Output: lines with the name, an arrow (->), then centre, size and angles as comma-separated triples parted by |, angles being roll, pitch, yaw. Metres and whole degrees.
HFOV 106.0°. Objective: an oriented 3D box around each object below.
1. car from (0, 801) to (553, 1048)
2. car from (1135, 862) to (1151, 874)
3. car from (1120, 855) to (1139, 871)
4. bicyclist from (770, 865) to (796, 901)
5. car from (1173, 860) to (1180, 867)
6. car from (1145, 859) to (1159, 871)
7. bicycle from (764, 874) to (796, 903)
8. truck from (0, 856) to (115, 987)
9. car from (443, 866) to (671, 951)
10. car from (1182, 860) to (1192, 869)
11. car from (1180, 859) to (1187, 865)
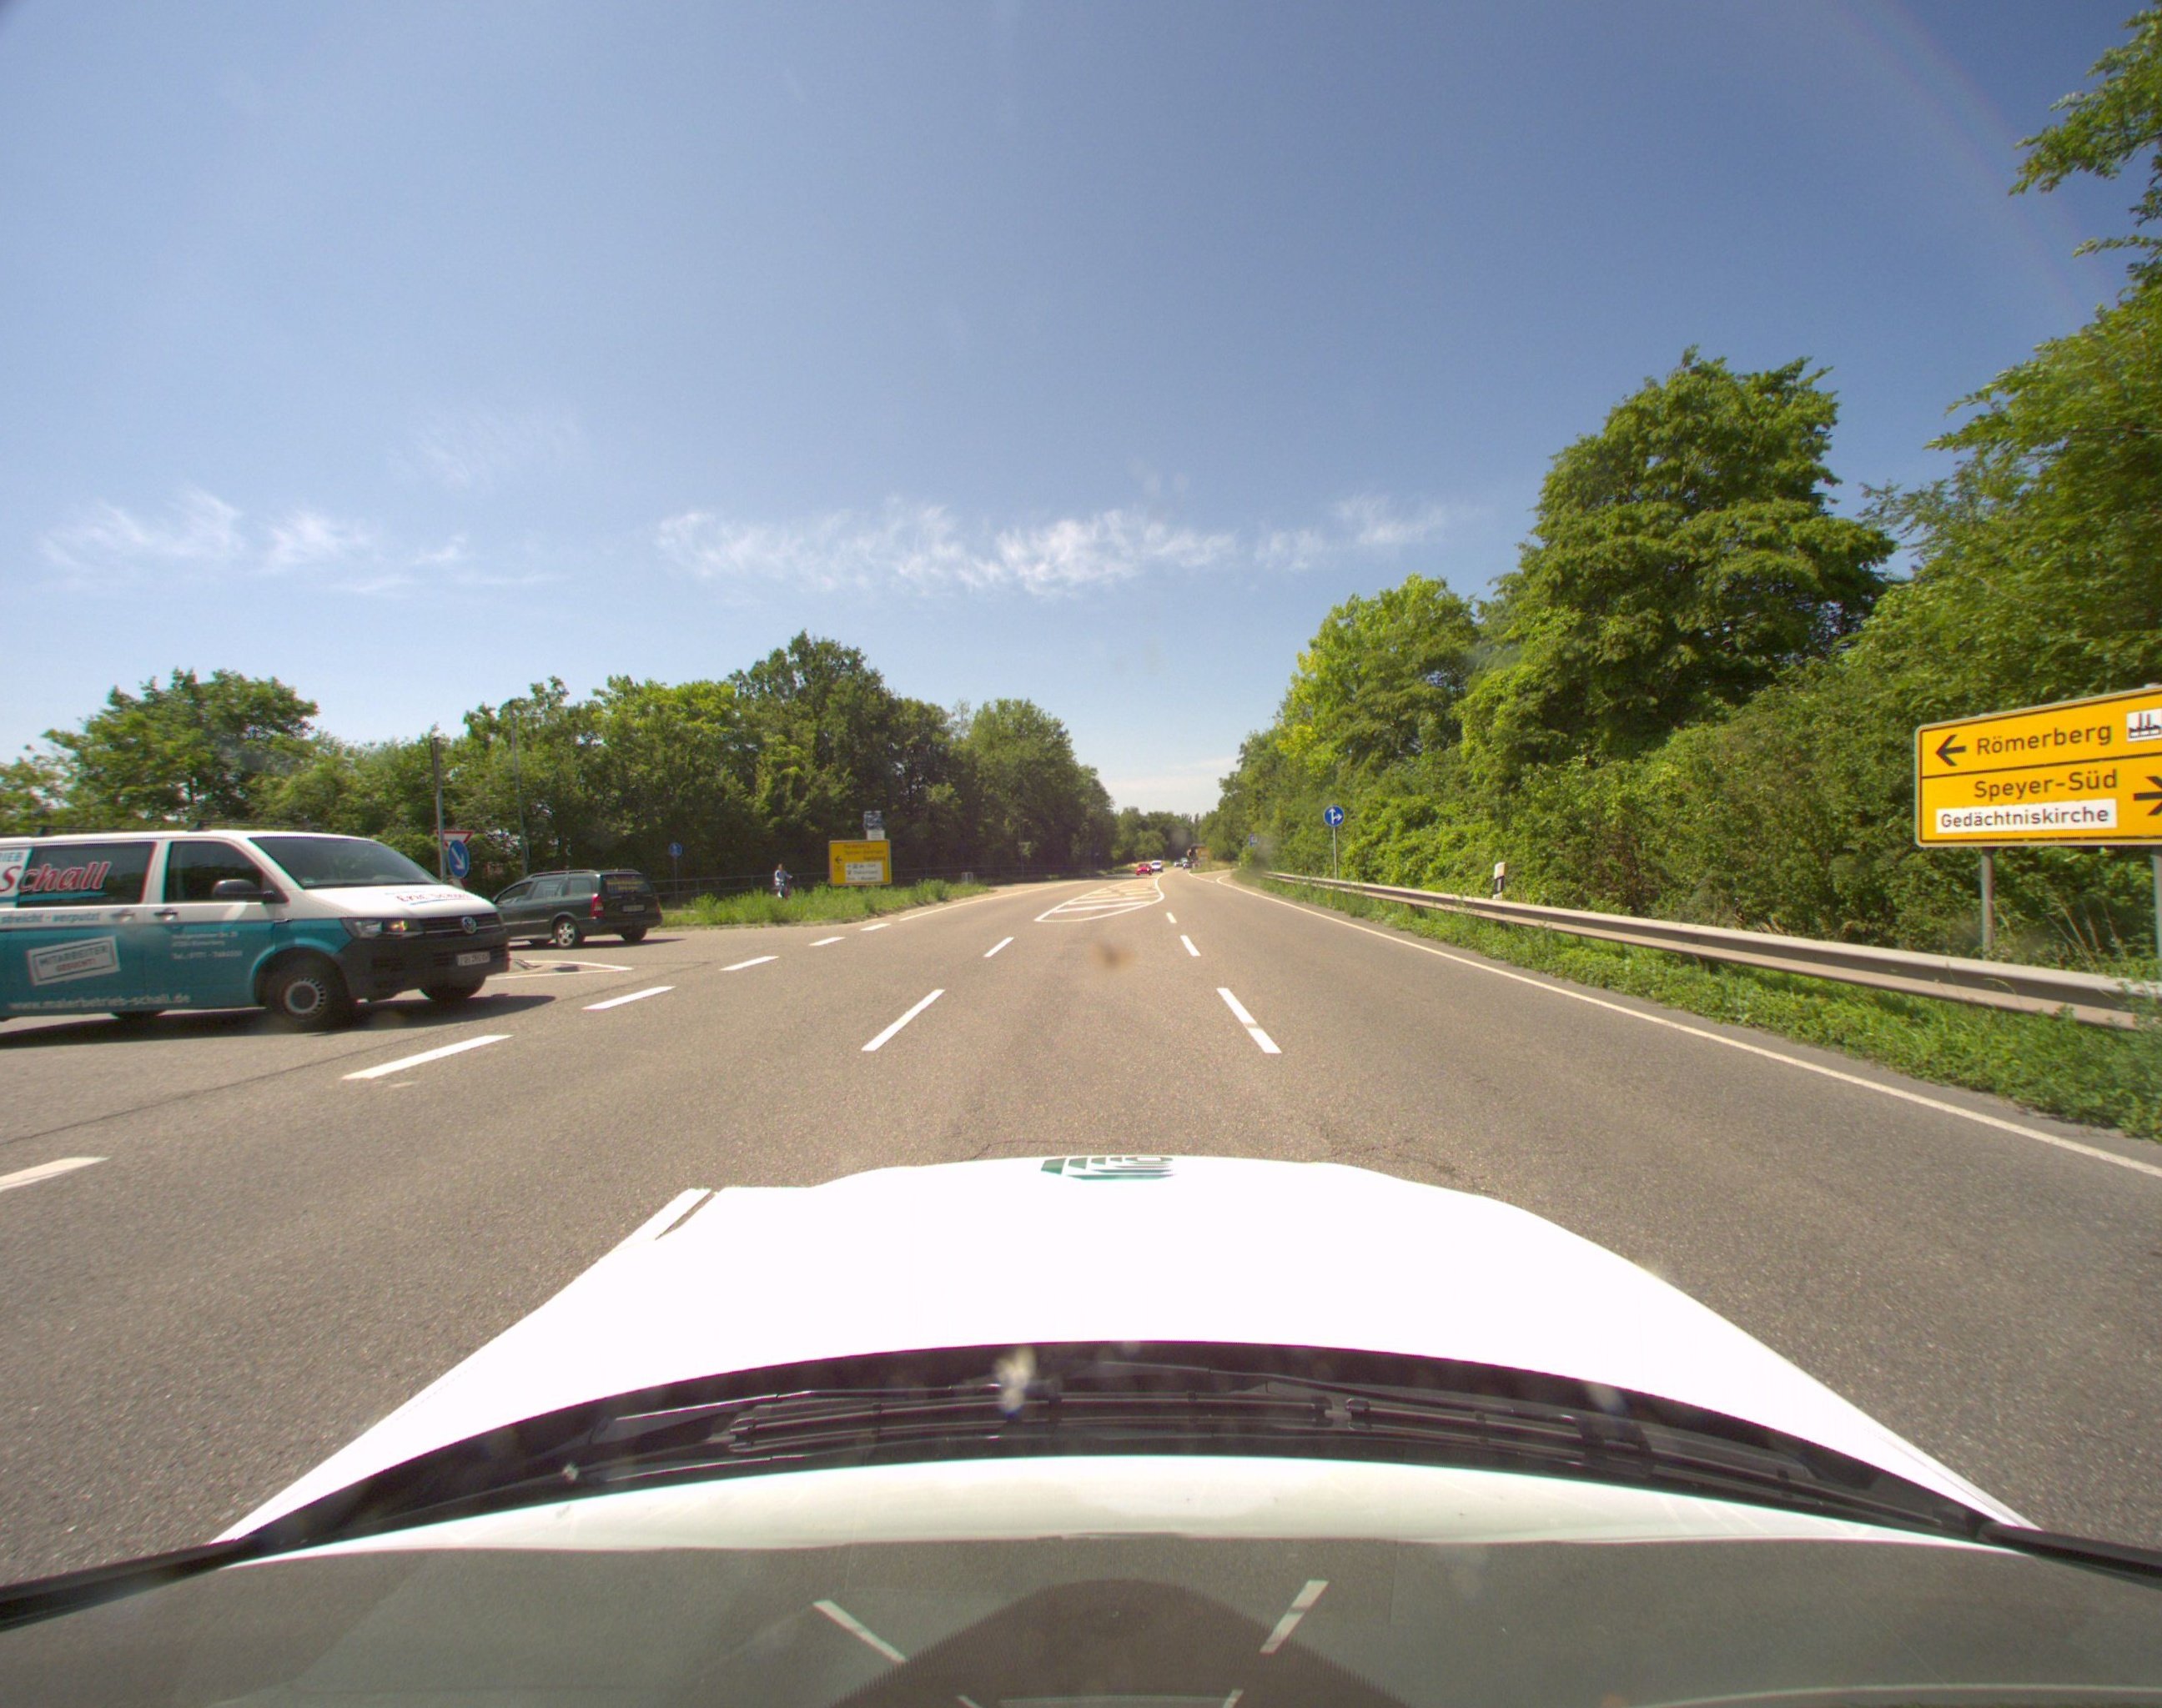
car -> -8.707, 0.675, 8.342 | 5.154, 2.027, 2.000 | -3, 0, 0
car -> 7.450, 1.673, 97.587 | 1.801, 1.458, 3.763 | -1, 0, 5
car -> 10.528, 1.987, 178.174 | 2.004, 3.226, 4.767 | -1, 0, -26
bicyclist -> -11.589, 1.125, 31.667 | 0.601, 1.363, 0.694 | -2, -1, 38
car -> 23.022, 2.300, 196.671 | 1.668, 1.527, 4.008 | -2, 0, 7
car -> 11.182, 1.765, 127.993 | 1.984, 1.730, 4.281 | -2, 0, 6
bicycle -> -11.748, 1.347, 31.787 | 1.463, 1.113, 0.439 | -2, -1, 38
truck -> -24.430, 1.585, 16.588 | 6.599, 2.565, 2.144 | -5, -1, -2
car -> -10.436, 1.076, 16.299 | 3.756, 1.457, 1.733 | -3, 0, 16
car -> 21.258, 2.105, 163.515 | 1.834, 1.684, 4.006 | -1, 0, 5
car -> 30.451, 2.403, 242.080 | 1.710, 1.528, 3.718 | -2, 0, 9
